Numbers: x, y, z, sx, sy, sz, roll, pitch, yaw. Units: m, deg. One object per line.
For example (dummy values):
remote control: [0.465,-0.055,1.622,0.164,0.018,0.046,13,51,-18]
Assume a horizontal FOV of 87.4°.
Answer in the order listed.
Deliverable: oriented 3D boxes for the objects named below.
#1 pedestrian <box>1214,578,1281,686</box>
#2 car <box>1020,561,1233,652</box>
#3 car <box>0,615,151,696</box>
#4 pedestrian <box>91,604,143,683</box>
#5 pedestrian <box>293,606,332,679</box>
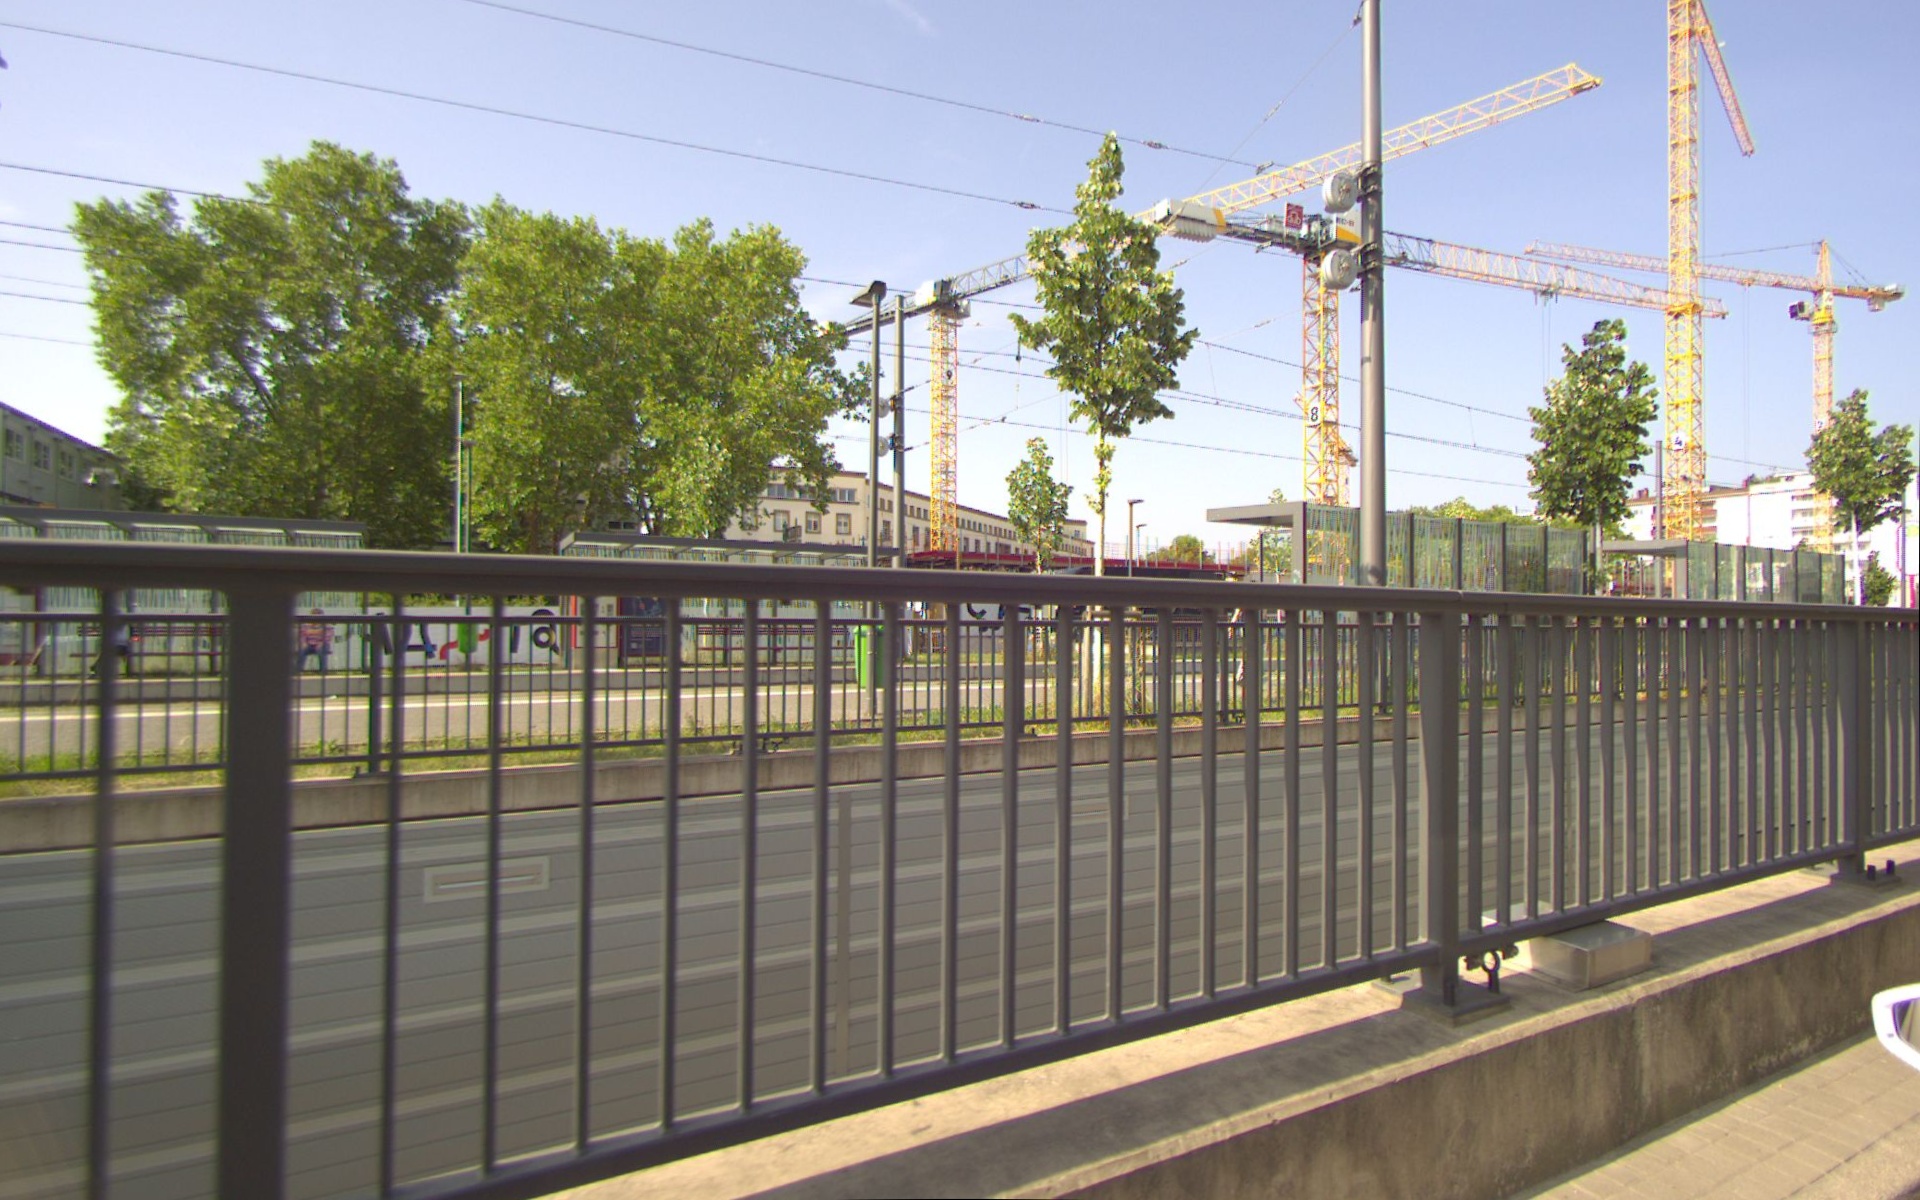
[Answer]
pedestrian: [4.517,0.502,15.808,0.702,1.640,0.732,1,-1,-30]
car: [7.183,0.335,42.678,9.126,3.559,3.039,1,-1,-31]
car: [-20.303,1.172,21.736,4.101,1.684,1.713,1,-1,-30]
pedestrian: [-14.326,0.728,17.082,0.586,1.317,0.676,0,-1,-33]
pedestrian: [-12.031,0.777,18.673,0.586,1.317,0.676,0,-1,-33]
